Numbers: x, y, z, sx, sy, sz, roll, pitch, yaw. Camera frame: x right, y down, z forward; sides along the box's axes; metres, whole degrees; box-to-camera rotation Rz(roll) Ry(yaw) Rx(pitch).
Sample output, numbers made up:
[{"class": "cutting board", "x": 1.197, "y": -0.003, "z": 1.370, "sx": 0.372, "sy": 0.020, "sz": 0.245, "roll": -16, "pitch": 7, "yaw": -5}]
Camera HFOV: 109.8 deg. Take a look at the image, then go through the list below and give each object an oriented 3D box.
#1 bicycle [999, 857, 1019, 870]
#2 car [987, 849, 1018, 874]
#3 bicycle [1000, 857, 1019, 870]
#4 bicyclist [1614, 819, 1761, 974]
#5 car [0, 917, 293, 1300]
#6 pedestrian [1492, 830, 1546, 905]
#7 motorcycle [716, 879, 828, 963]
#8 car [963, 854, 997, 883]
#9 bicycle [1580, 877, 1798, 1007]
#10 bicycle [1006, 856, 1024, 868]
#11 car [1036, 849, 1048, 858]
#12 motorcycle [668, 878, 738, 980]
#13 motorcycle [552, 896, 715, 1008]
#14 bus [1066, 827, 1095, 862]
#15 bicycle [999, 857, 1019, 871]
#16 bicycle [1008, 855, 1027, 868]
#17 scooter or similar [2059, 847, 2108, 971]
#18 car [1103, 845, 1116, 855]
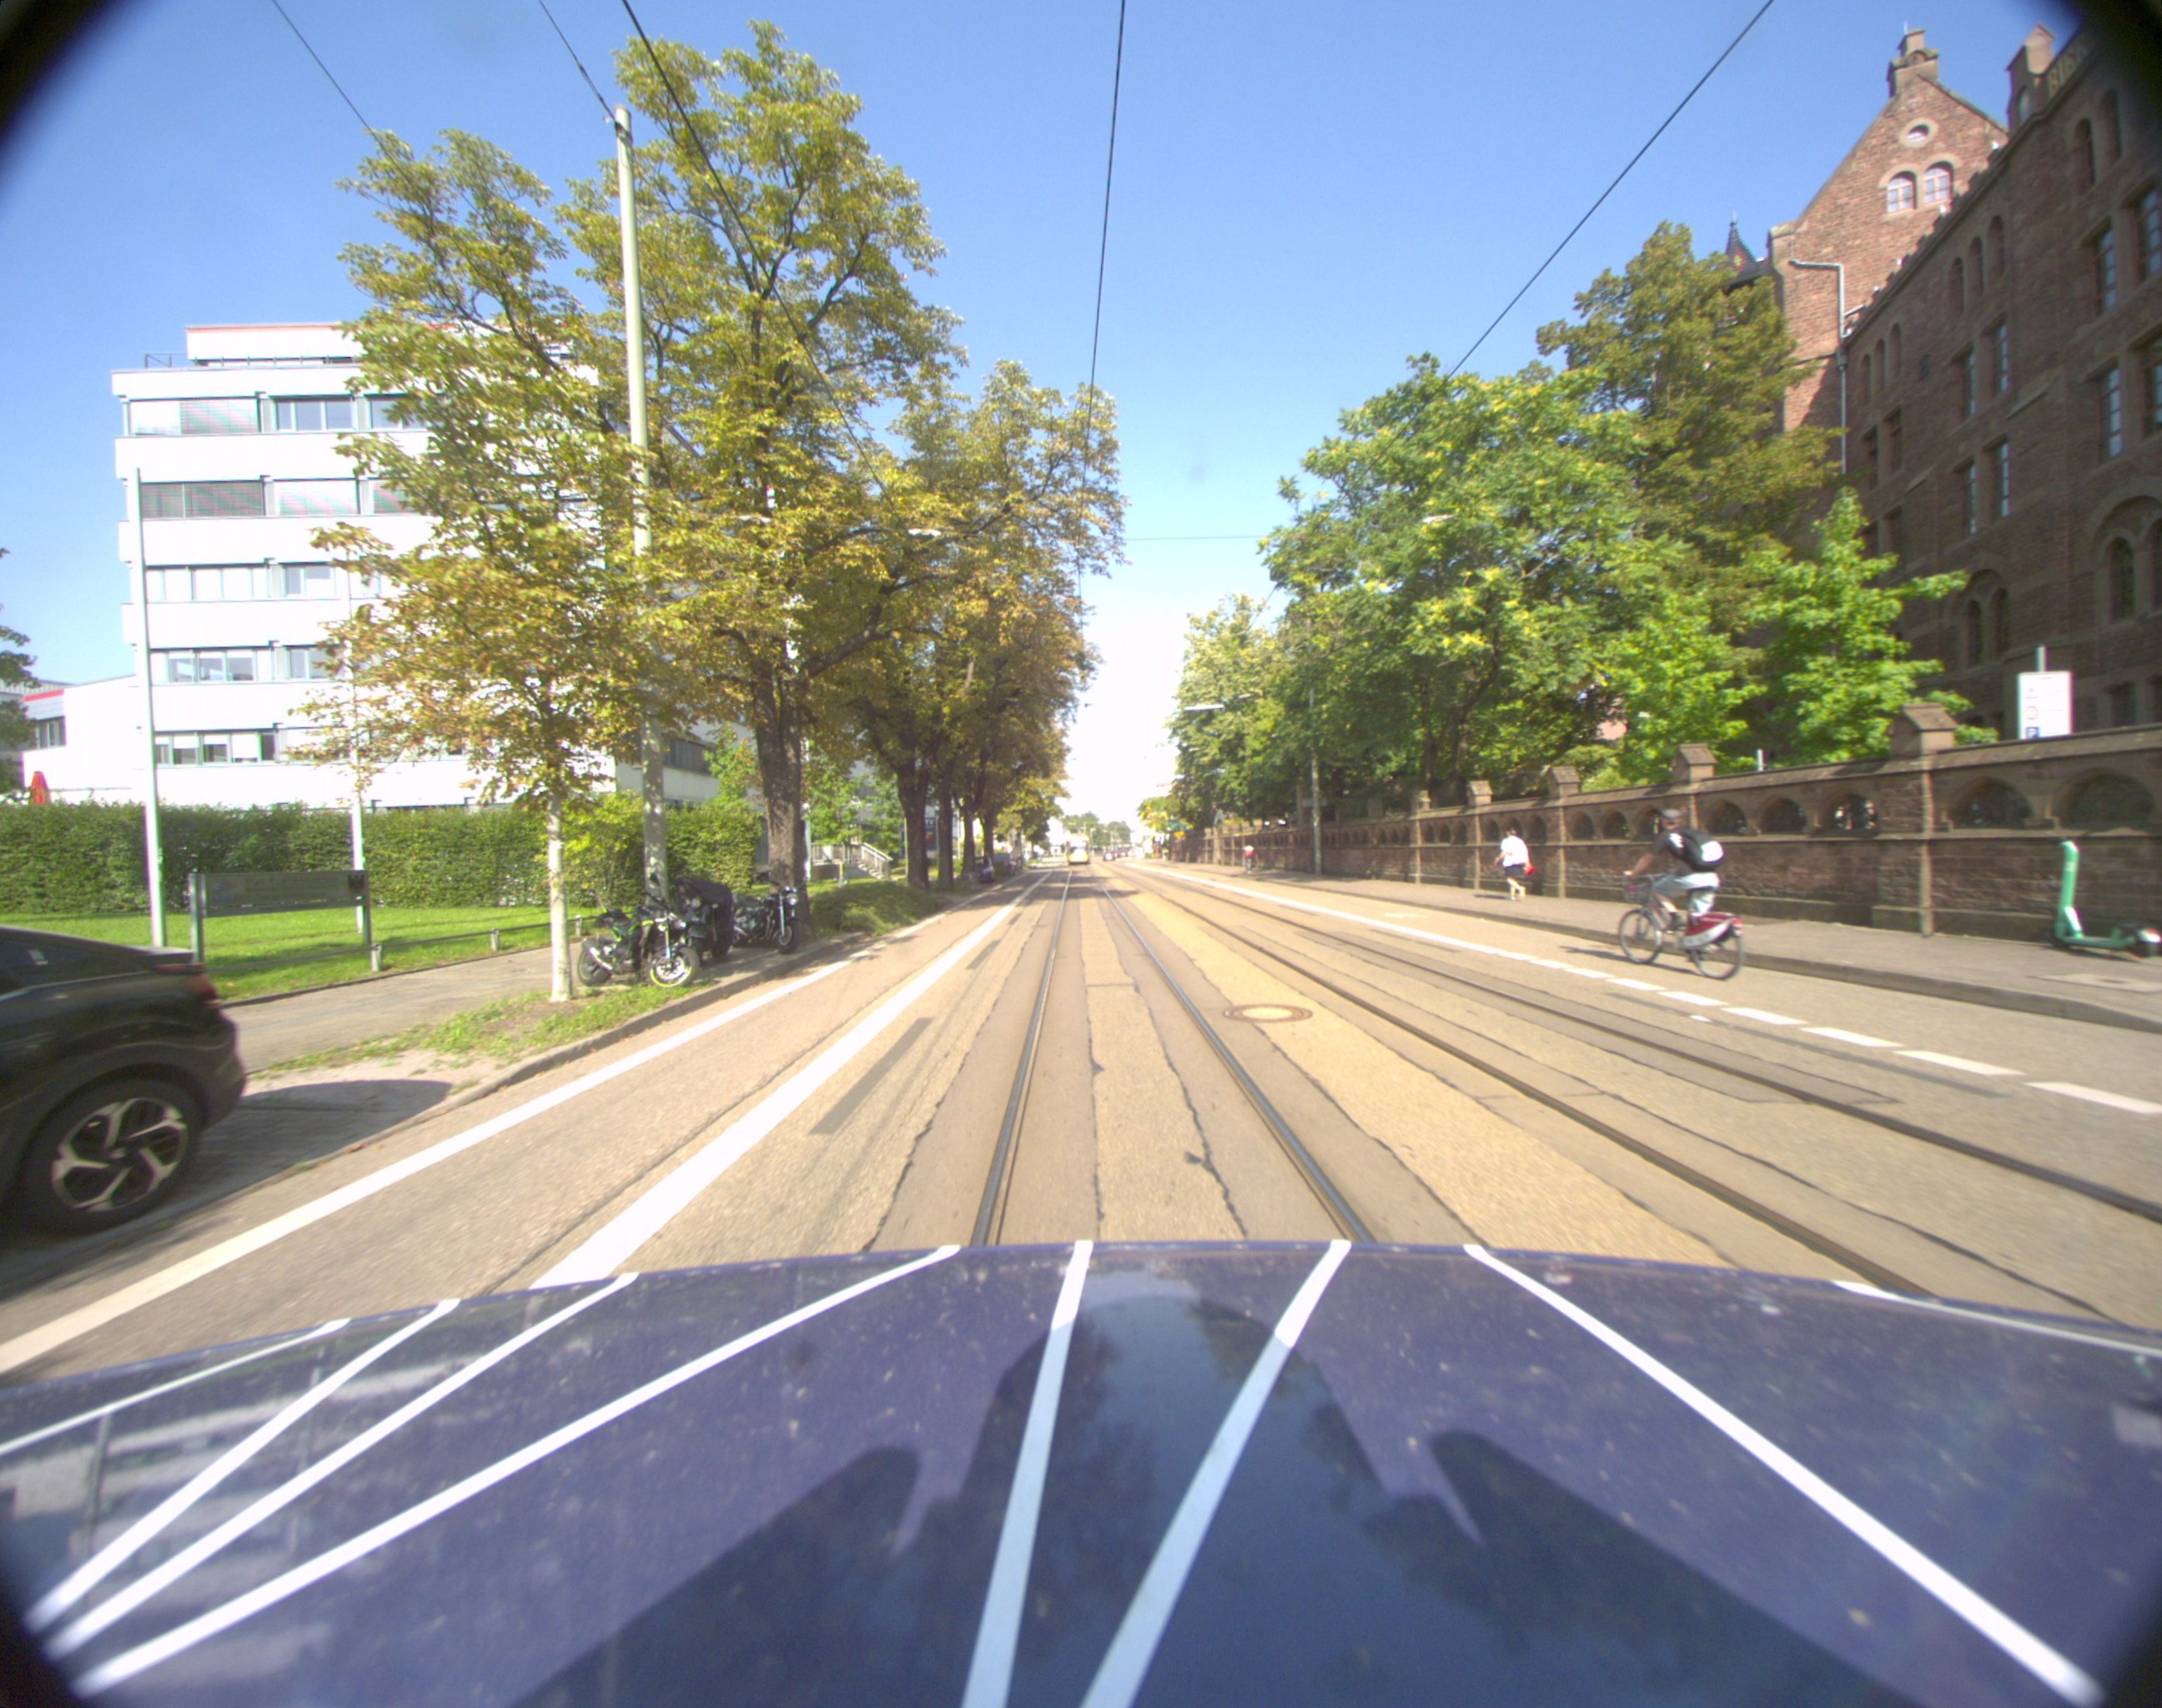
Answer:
[{"class": "bicycle", "x": -5.574, "y": 0.743, "z": 58.936, "sx": 1.460, "sy": 1.009, "sz": 0.382, "roll": -2, "pitch": 1, "yaw": -3}, {"class": "car", "x": -5.502, "y": 0.483, "z": 53.881, "sx": 1.866, "sy": 1.644, "sz": 4.182, "roll": 0, "pitch": 1, "yaw": -1}, {"class": "bicycle", "x": -5.641, "y": 0.730, "z": 59.836, "sx": 1.460, "sy": 1.009, "sz": 0.382, "roll": -2, "pitch": 1, "yaw": -3}, {"class": "bicyclist", "x": 6.554, "y": 0.420, "z": 8.278, "sx": 0.699, "sy": 1.571, "sz": 1.087, "roll": 0, "pitch": 2, "yaw": -2}, {"class": "car", "x": -5.316, "y": 1.111, "z": 2.079, "sx": 1.745, "sy": 1.477, "sz": 4.436, "roll": 0, "pitch": 0, "yaw": -1}, {"class": "pedestrian", "x": 9.567, "y": 0.289, "z": 16.618, "sx": 0.717, "sy": 1.580, "sz": 0.775, "roll": -2, "pitch": 1, "yaw": -1}, {"class": "motorcycle", "x": -5.268, "y": 1.090, "z": 12.904, "sx": 2.061, "sy": 1.236, "sz": 0.846, "roll": 0, "pitch": 2, "yaw": 38}, {"class": "car", "x": -5.522, "y": 0.783, "z": 41.887, "sx": 1.567, "sy": 1.433, "sz": 3.562, "roll": 1, "pitch": 1, "yaw": -3}, {"class": "bicycle", "x": 6.542, "y": 0.884, "z": 8.360, "sx": 0.699, "sy": 1.151, "sz": 2.037, "roll": 0, "pitch": 1, "yaw": -2}, {"class": "bicycle", "x": -5.575, "y": 0.653, "z": 64.528, "sx": 1.460, "sy": 1.009, "sz": 0.382, "roll": -2, "pitch": 1, "yaw": -3}, {"class": "car", "x": -7.662, "y": -0.048, "z": 149.756, "sx": 1.755, "sy": 1.598, "sz": 4.000, "roll": -2, "pitch": 1, "yaw": 3}, {"class": "motorcycle", "x": -5.831, "y": 1.071, "z": 11.649, "sx": 0.846, "sy": 1.319, "sz": 2.062, "roll": -1, "pitch": 1, "yaw": -29}, {"class": "motorcycle", "x": -5.477, "y": 1.149, "z": 9.271, "sx": 1.984, "sy": 1.218, "sz": 0.647, "roll": -1, "pitch": 2, "yaw": 25}, {"class": "bus", "x": 0.068, "y": -1.172, "z": 88.632, "sx": 2.901, "sy": 3.772, "sz": 9.318, "roll": -2, "pitch": 1, "yaw": 2}, {"class": "bicycle", "x": -5.505, "y": 0.755, "z": 58.097, "sx": 1.460, "sy": 1.009, "sz": 0.382, "roll": -2, "pitch": 1, "yaw": -3}, {"class": "bicycle", "x": -5.436, "y": 0.640, "z": 65.006, "sx": 1.621, "sy": 1.009, "sz": 0.382, "roll": -2, "pitch": 1, "yaw": -3}, {"class": "scooter or similar", "x": 10.119, "y": 0.532, "z": 7.667, "sx": 0.818, "sy": 1.142, "sz": 0.283, "roll": -6, "pitch": 4, "yaw": -36}, {"class": "car", "x": 4.206, "y": -0.595, "z": 110.949, "sx": 1.695, "sy": 1.434, "sz": 3.999, "roll": -1, "pitch": 1, "yaw": 0}]
